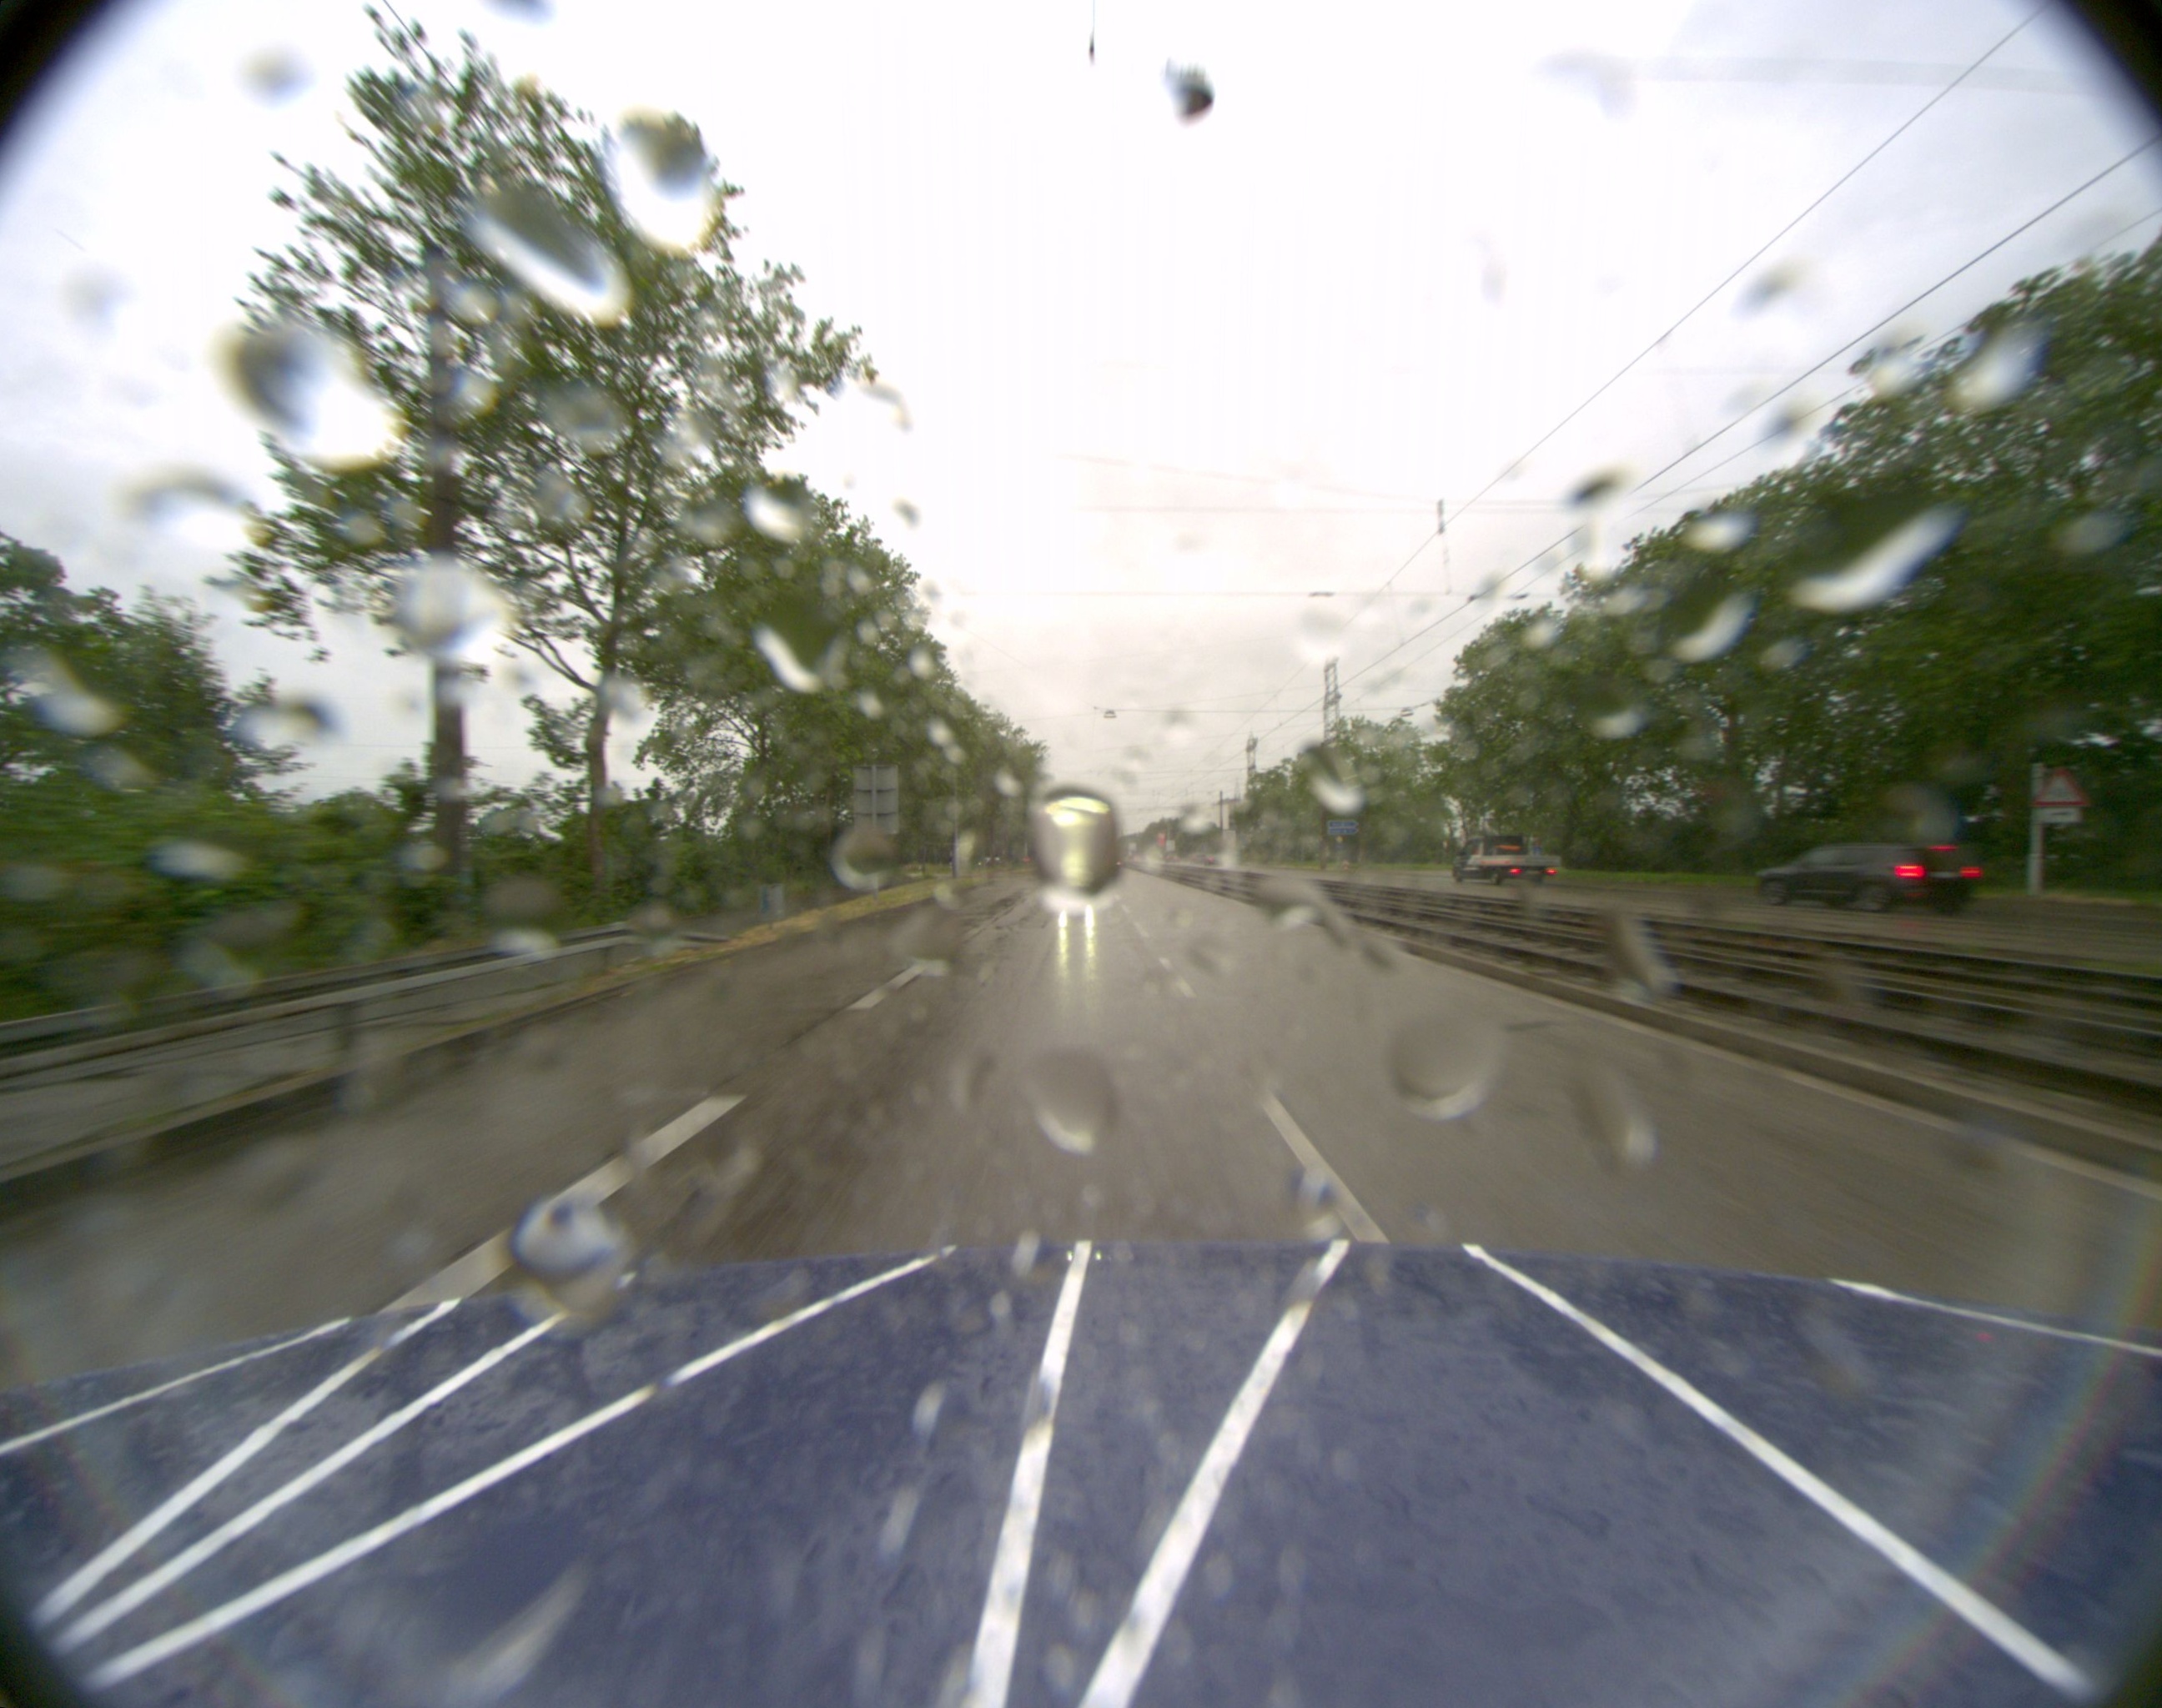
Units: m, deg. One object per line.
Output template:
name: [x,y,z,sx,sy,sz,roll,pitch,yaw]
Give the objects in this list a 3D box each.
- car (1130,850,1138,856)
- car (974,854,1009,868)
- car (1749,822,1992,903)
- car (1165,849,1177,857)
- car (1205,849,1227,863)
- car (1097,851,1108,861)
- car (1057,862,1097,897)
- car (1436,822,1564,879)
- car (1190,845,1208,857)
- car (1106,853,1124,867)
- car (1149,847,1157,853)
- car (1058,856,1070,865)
car: [15.976,-0.306,227.252,1.892,1.799,5.004,-3,0,-1]
car: [-12.505,0.959,106.561,1.794,1.692,4.772,-3,0,43]
car: [19.382,0.206,18.987,1.845,1.706,4.164,-3,0,4]
car: [17.422,-0.197,147.267,1.795,1.540,5.313,-3,0,0]
car: [16.784,0.290,94.848,1.780,1.575,5.682,-3,0,0]
car: [3.551,0.411,125.904,1.807,1.521,3.645,-3,0,0]
car: [-0.163,1.208,37.215,1.807,1.521,3.645,-3,0,0]
car: [19.597,-0.113,36.055,2.104,2.329,6.990,-3,0,0]
car: [17.639,-0.380,113.706,1.824,1.696,6.105,-3,0,1]
car: [3.810,0.660,84.881,1.807,1.521,3.645,-3,0,0]
car: [19.242,-0.972,203.891,1.693,1.543,4.000,-3,0,0]
car: [-3.045,1.158,136.281,1.783,1.419,4.001,-2,0,2]
